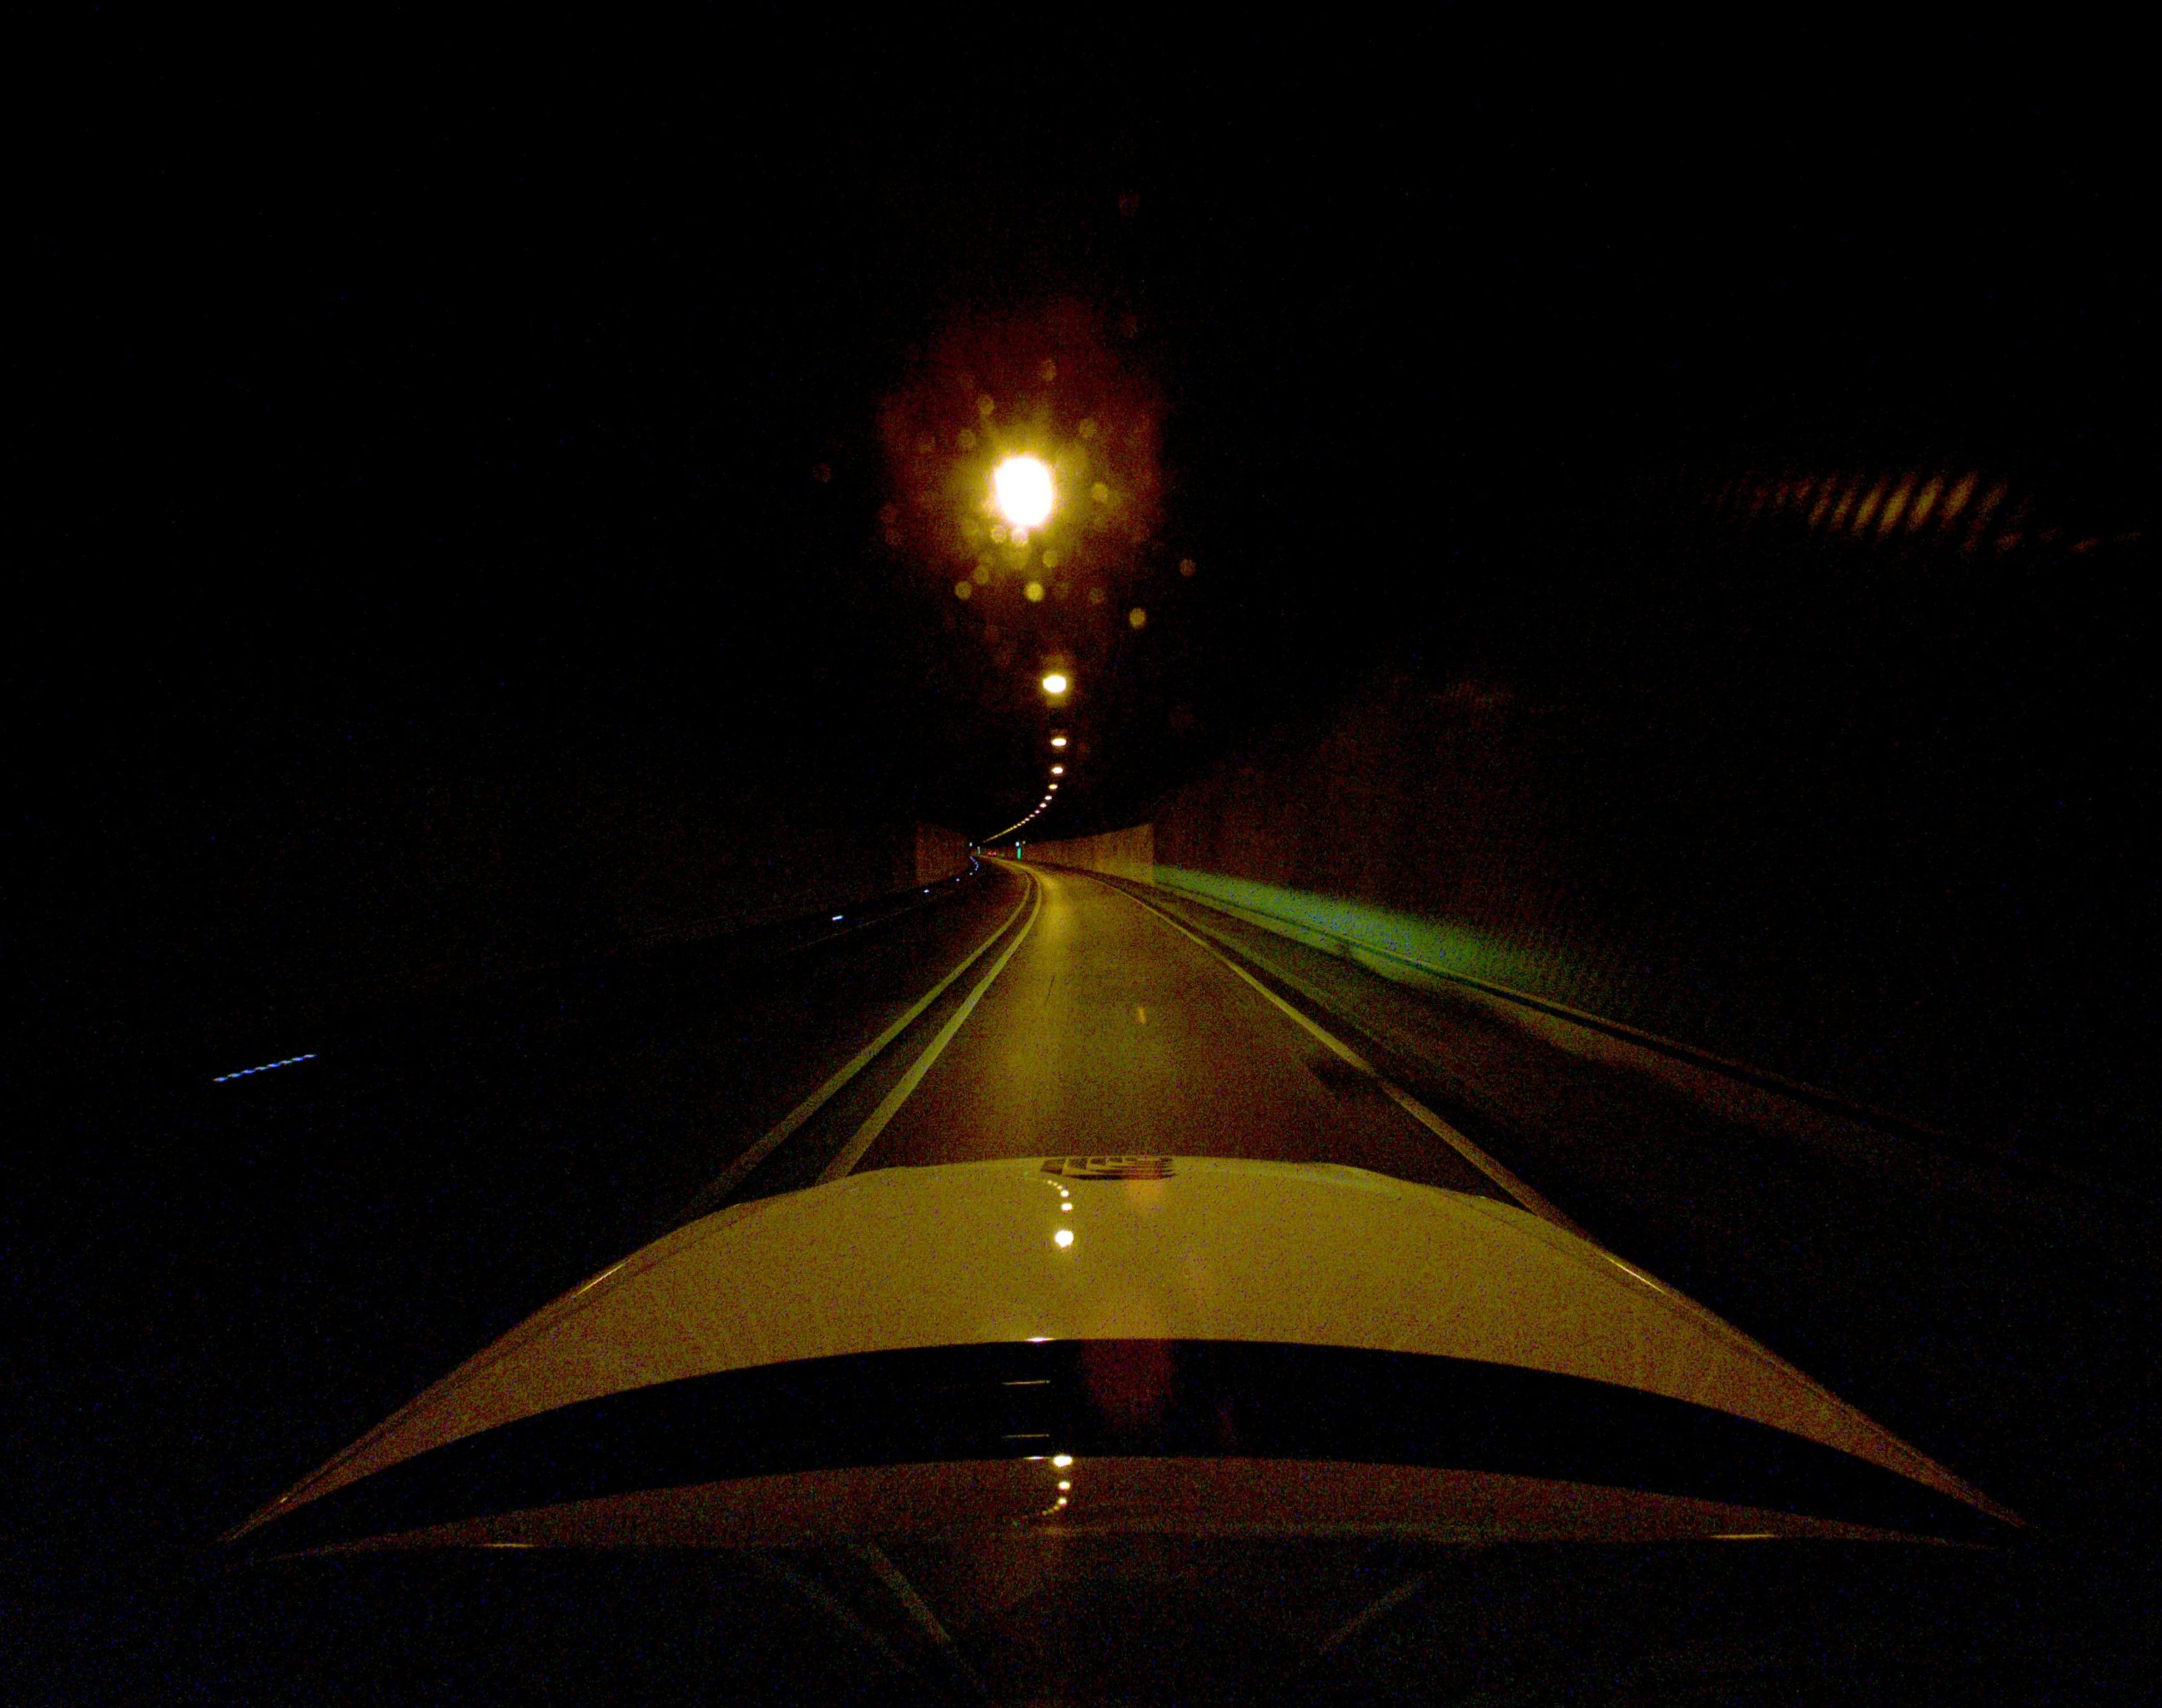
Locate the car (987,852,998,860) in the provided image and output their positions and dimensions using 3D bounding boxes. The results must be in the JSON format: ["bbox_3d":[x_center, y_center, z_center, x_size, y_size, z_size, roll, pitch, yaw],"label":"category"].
[{"bbox_3d":[-22.596,0.453,207.451,1.971,1.939,4.588,0,-1,-16],"label":"car"}]
